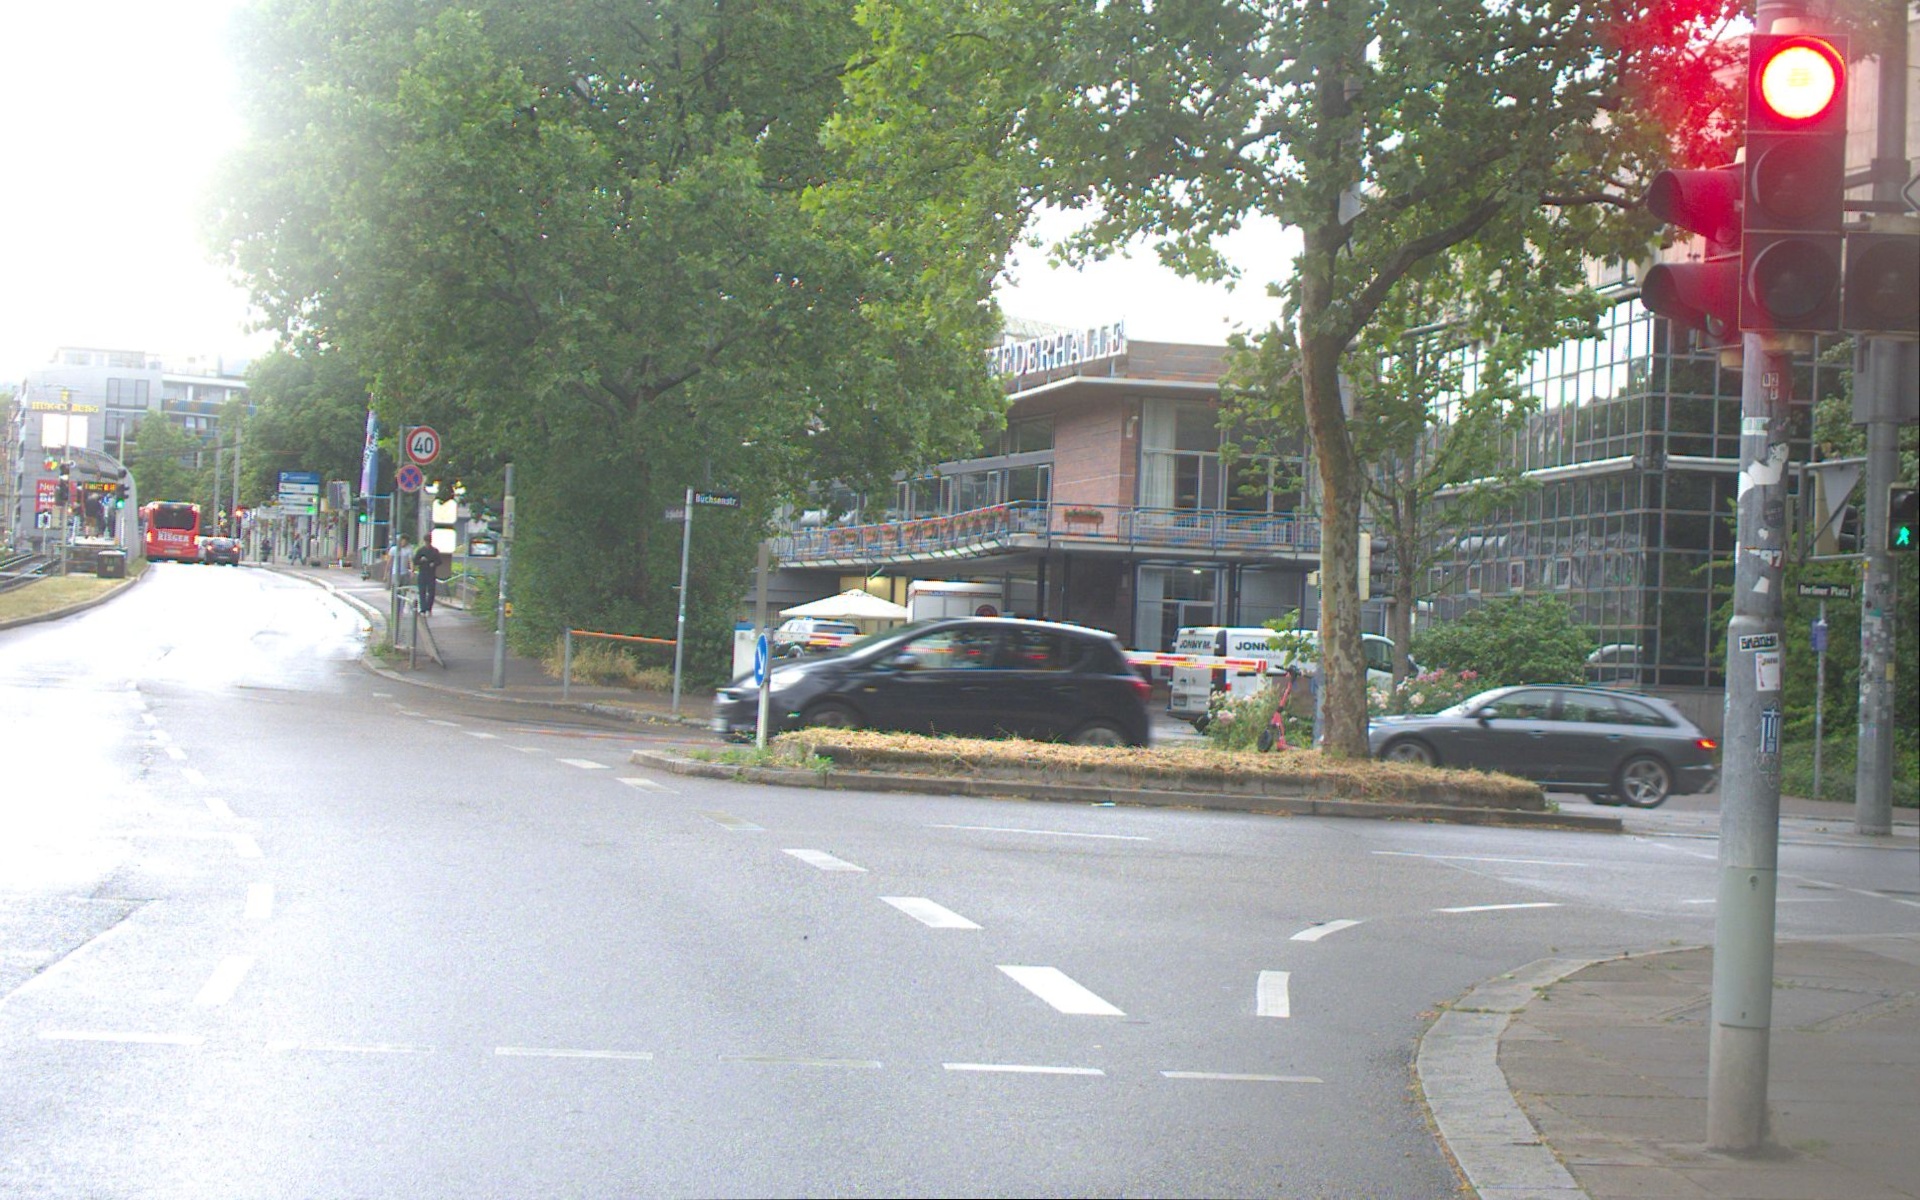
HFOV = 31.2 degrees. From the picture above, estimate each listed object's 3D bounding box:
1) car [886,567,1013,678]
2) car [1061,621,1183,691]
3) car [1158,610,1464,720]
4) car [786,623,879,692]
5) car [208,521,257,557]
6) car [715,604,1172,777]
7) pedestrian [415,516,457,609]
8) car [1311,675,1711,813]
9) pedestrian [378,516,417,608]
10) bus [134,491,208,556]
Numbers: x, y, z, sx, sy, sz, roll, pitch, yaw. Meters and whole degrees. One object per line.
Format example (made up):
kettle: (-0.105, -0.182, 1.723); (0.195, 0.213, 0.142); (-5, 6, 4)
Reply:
car: (-0.339, 0.540, 91.429); (2.731, 2.686, 6.923); (3, 1, -5)
car: (4.170, 1.432, 89.221); (2.019, 1.546, 4.351); (3, 1, -13)
car: (6.367, 1.176, 62.211); (5.198, 1.725, 1.875); (3, 1, -25)
car: (-3.234, 1.453, 87.954); (2.019, 1.546, 4.350); (3, 1, 2)
car: (-38.401, -3.214, 181.402); (2.362, 1.810, 5.185); (1, 1, -13)
car: (-0.176, 0.823, 31.598); (3.857, 1.352, 1.633); (3, 1, -14)
pedestrian: (-11.546, -0.827, 75.800); (0.874, 2.007, 1.077); (1, 0, -8)
car: (6.553, 1.712, 41.185); (4.335, 1.514, 2.000); (1, 1, -6)
pedestrian: (-12.377, -0.829, 75.657); (0.814, 2.007, 1.077); (1, 0, -8)
bus: (-40.492, -3.867, 176.419); (3.589, 3.160, 10.423); (1, 1, -13)
